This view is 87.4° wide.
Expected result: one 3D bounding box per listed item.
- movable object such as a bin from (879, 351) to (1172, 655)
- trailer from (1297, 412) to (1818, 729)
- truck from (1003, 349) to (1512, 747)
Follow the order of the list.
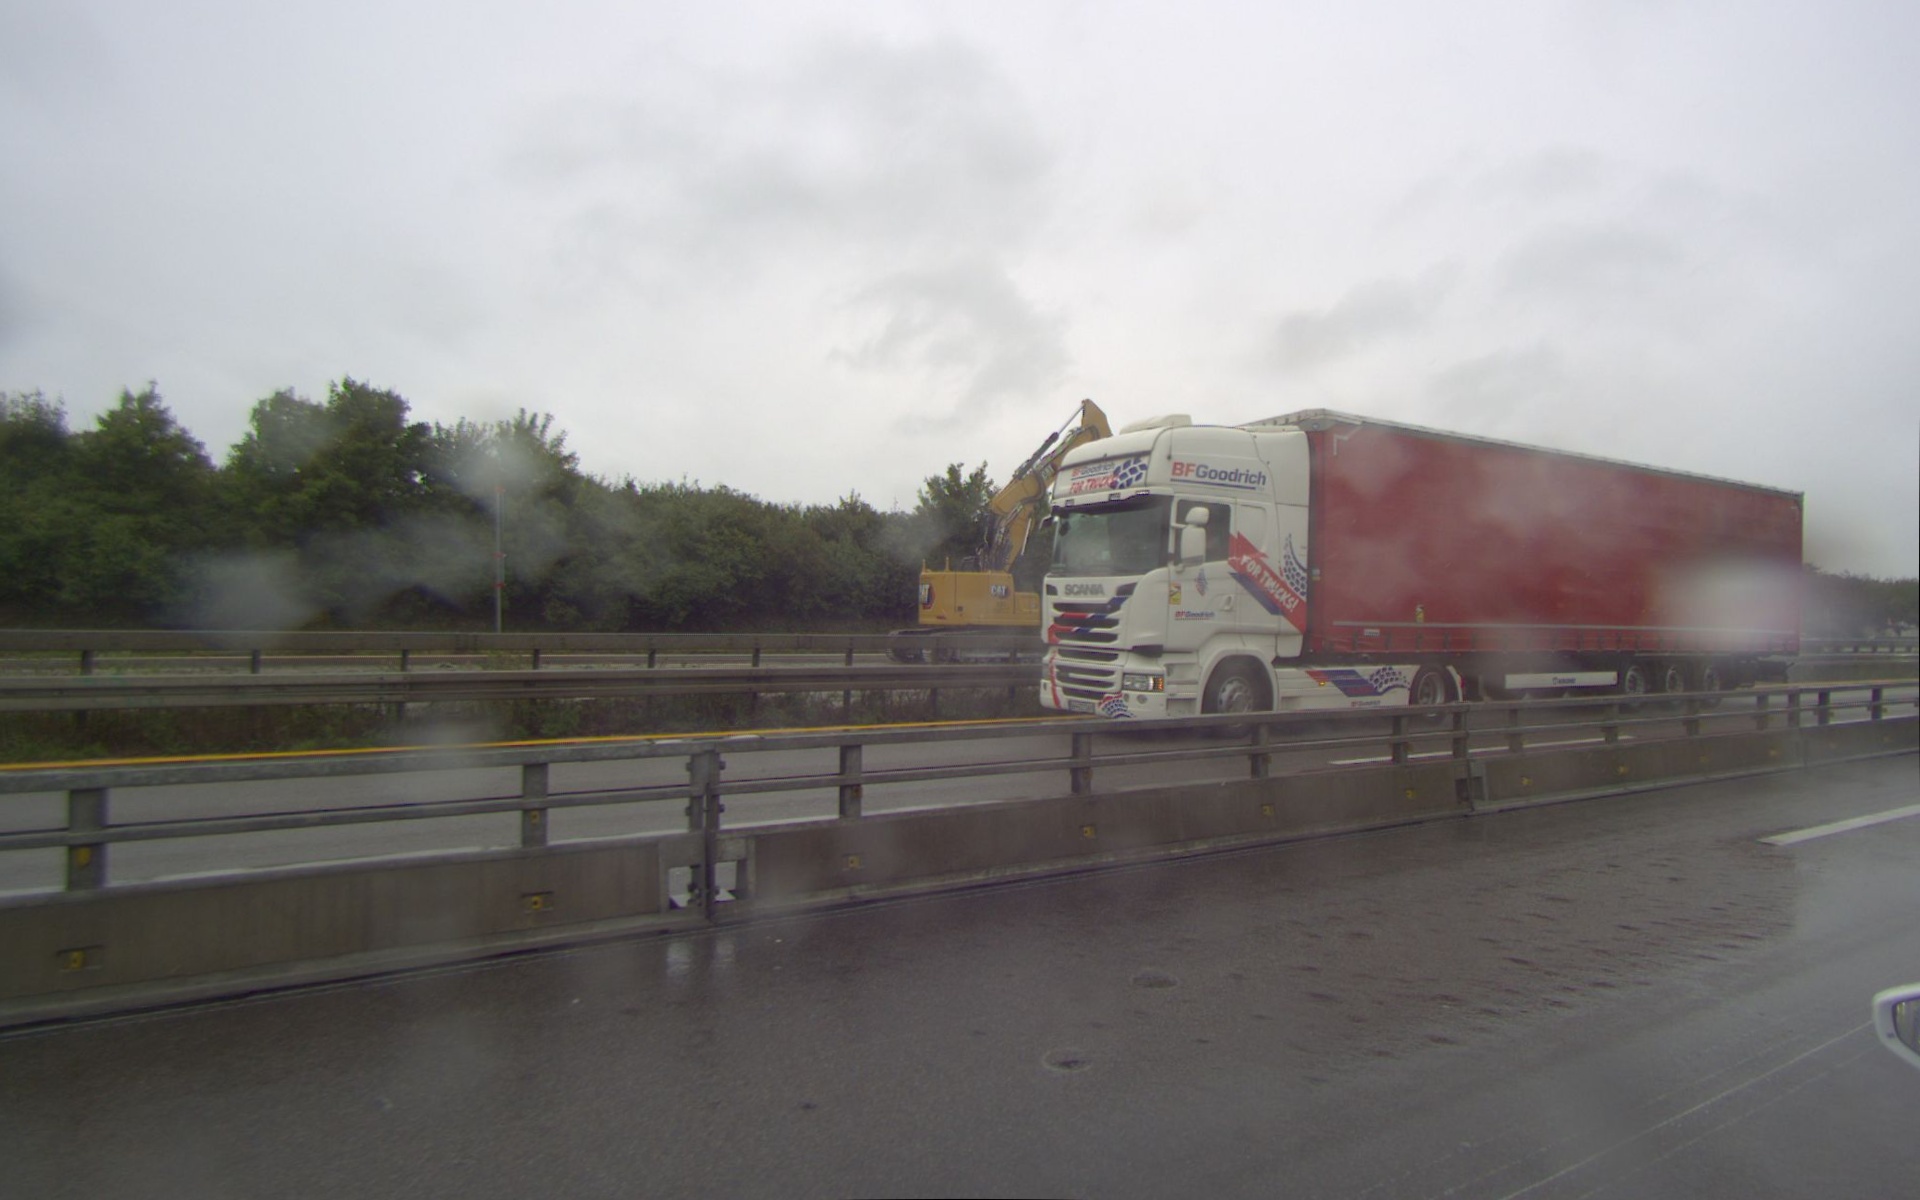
[{"bbox_3d":[2.081,-2.570,31.022,8.207,8.252,3.580,2,0,-29],"label":"movable object such as a bin"},{"bbox_3d":[10.961,-0.231,17.811,10.928,4.351,2.962,2,-2,-30],"label":"trailer"},{"bbox_3d":[4.238,-0.451,13.909,6.721,4.328,2.994,2,-2,-30],"label":"truck"}]
